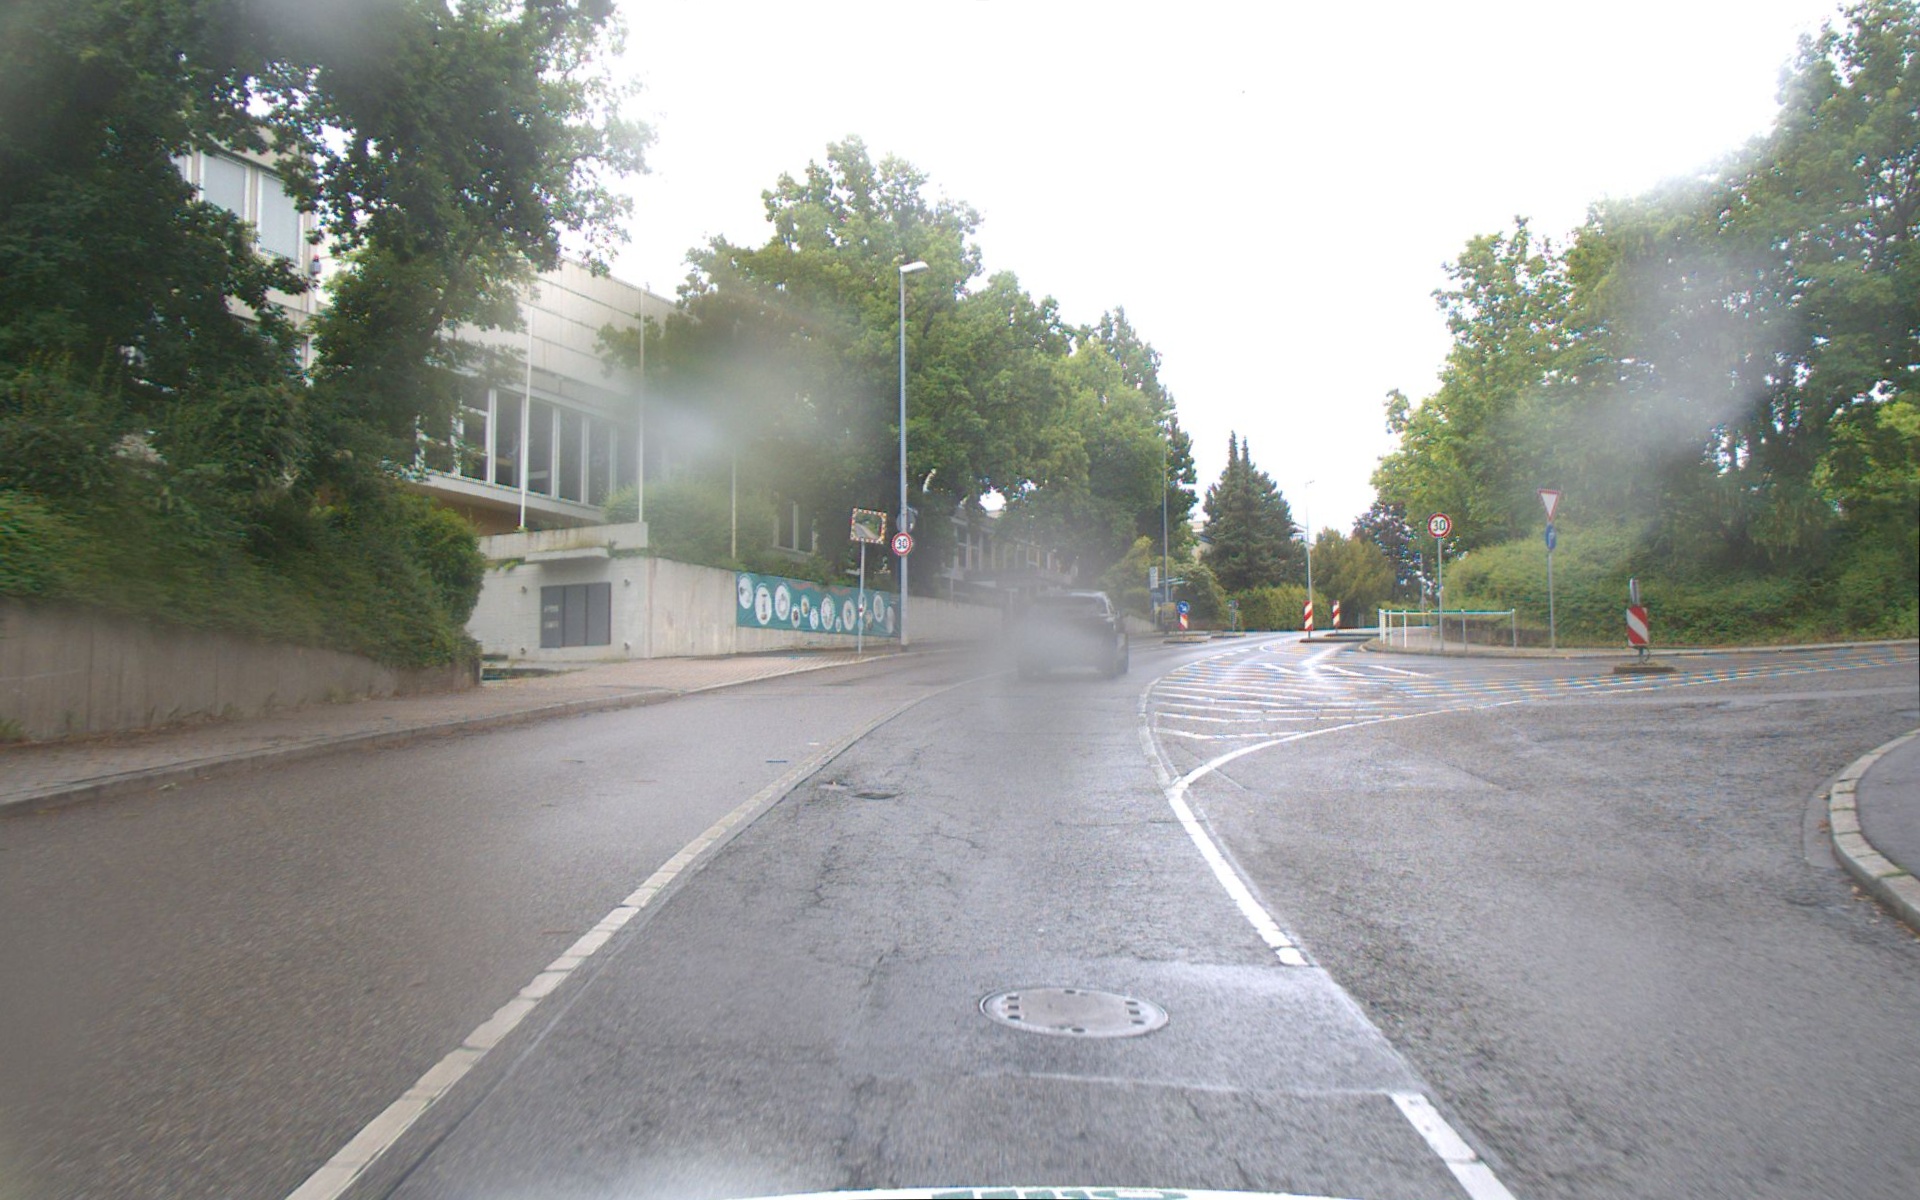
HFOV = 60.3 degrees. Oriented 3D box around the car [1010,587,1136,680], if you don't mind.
[{"bbox_3d":[2.207,0.583,31.287,1.887,1.641,4.003,0,0,11],"label":"car"}]
